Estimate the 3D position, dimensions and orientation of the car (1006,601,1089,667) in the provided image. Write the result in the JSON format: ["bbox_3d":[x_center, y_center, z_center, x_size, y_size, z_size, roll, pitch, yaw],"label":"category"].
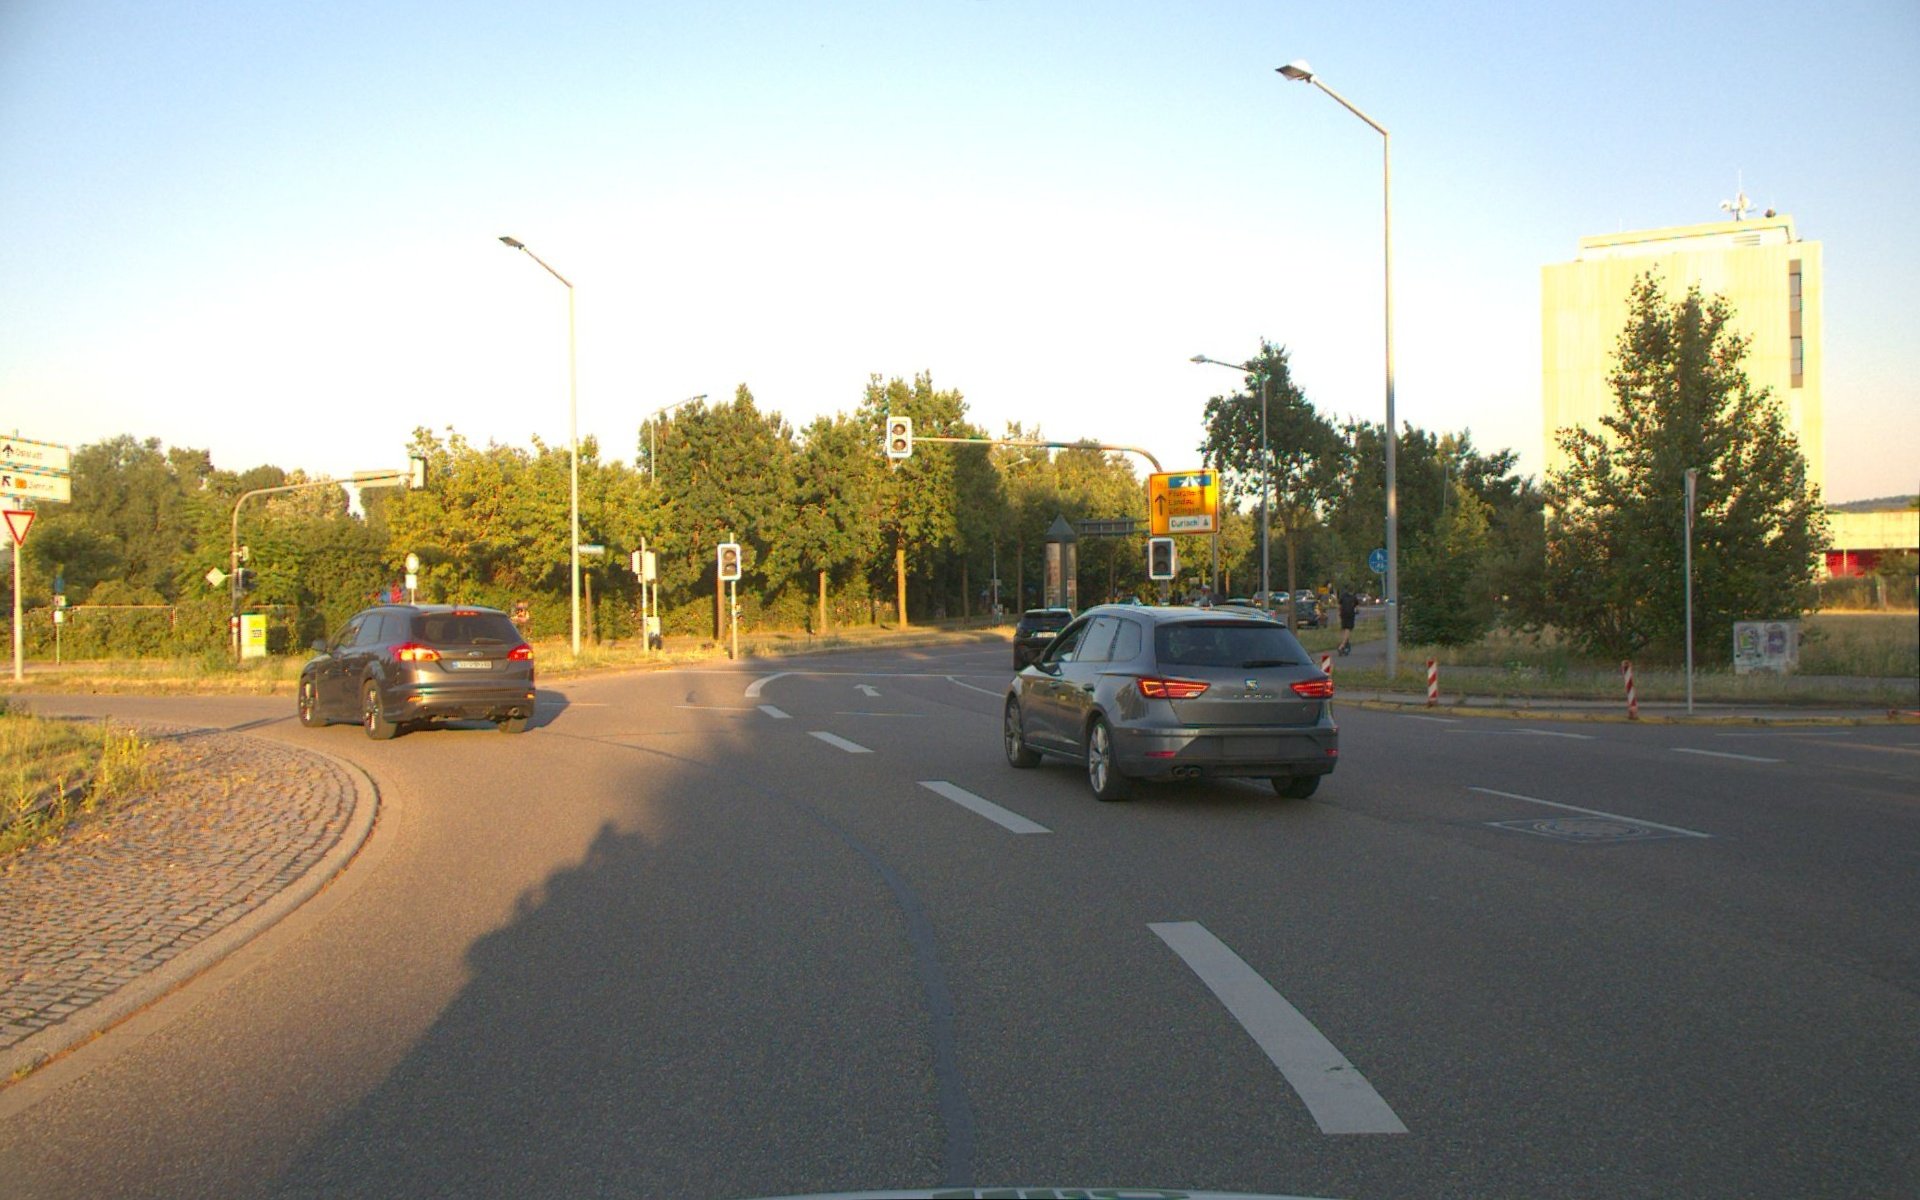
[{"bbox_3d":[2.292,0.829,42.623,1.774,1.551,4.138,-1,1,8],"label":"car"}]

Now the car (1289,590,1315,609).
[{"bbox_3d":[34.571,-0.032,167.274,1.876,1.785,4.922,-2,-1,20],"label":"car"}]

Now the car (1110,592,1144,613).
[{"bbox_3d":[12.417,0.192,122.763,1.518,1.468,3.485,-2,-1,24],"label":"car"}]

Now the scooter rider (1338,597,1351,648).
[{"bbox_3d":[10.515,0.611,45.188,0.258,1.362,0.406,-1,0,2],"label":"scooter rider"}]

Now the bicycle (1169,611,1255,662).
[{"bbox_3d":[5.849,0.853,38.421,1.882,1.104,0.457,-2,-1,20],"label":"bicycle"}]

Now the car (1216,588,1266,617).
[{"bbox_3d":[14.917,0.117,87.754,1.952,1.496,4.001,0,0,20],"label":"car"}]

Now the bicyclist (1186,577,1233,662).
[{"bbox_3d":[5.807,0.459,38.504,0.888,1.931,0.641,-3,-1,19],"label":"bicyclist"}]

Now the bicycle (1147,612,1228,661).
[{"bbox_3d":[5.612,0.890,40.771,1.882,1.104,0.457,-3,-1,20],"label":"bicycle"}]

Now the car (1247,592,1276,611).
[{"bbox_3d":[27.613,0.169,151.382,1.760,1.661,4.455,-2,-1,22],"label":"car"}]

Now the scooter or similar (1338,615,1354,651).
[{"bbox_3d":[10.543,0.897,45.204,0.241,0.930,1.039,-1,0,2],"label":"scooter or similar"}]

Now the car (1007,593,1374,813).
[{"bbox_3d":[1.665,0.689,13.397,1.714,1.449,4.124,-1,1,-11],"label":"car"}]

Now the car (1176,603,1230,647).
[{"bbox_3d":[9.212,0.920,62.482,1.708,1.514,4.139,0,1,12],"label":"car"}]

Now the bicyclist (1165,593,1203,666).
[{"bbox_3d":[5.528,0.722,40.803,0.751,1.731,0.641,-3,-1,19],"label":"bicyclist"}]

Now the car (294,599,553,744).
[{"bbox_3d":[-6.447,0.756,19.599,1.733,1.492,4.081,-1,1,-36],"label":"car"}]

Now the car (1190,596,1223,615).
[{"bbox_3d":[19.624,0.433,131.409,1.686,1.474,4.551,0,0,20],"label":"car"}]
